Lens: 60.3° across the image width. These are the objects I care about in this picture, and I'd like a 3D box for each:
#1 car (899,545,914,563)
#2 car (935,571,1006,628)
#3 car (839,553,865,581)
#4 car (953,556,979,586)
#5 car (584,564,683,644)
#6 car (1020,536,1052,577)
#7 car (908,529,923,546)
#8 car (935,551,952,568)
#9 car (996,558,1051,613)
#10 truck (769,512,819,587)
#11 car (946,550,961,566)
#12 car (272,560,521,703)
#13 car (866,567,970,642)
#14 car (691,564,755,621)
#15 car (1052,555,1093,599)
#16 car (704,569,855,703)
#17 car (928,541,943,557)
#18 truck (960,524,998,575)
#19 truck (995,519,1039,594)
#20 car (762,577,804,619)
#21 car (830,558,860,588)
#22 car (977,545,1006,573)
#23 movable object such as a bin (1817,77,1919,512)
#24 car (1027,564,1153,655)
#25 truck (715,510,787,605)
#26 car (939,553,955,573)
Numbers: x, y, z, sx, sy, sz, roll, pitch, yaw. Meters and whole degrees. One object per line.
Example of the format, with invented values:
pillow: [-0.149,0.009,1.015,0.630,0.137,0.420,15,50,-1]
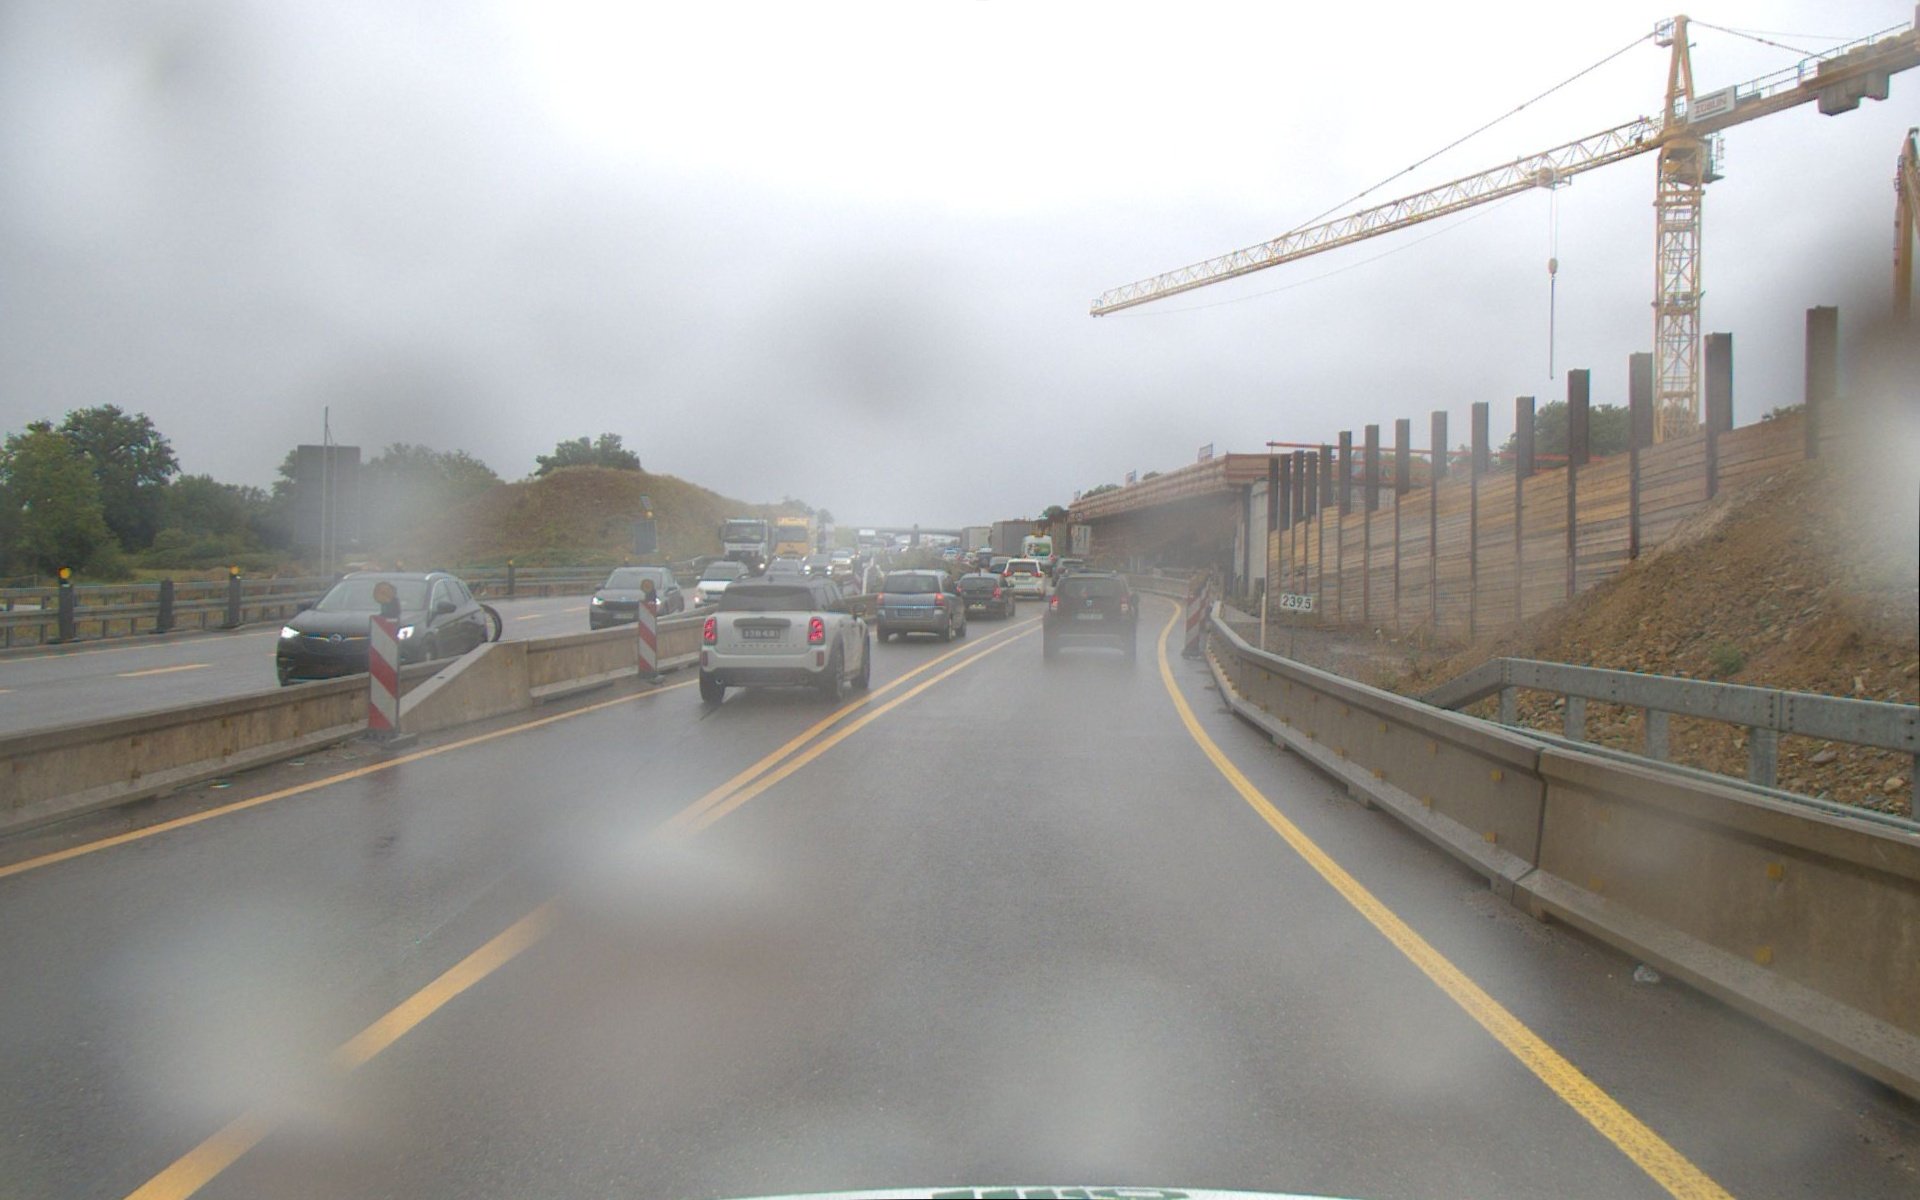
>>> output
car: [-6.970,-5.926,214.462,1.954,2.049,3.997,0,-2,-3]
car: [0.302,0.029,52.025,1.954,1.629,4.137,0,-2,-4]
car: [-9.957,-3.057,153.373,2.172,2.412,4.662,1,0,-1]
car: [0.522,-2.361,136.377,1.952,2.201,4.141,0,-2,3]
car: [-8.221,0.156,41.986,1.749,1.842,4.497,0,-2,-2]
car: [5.272,-3.019,114.855,1.953,2.528,4.980,0,-2,0]
car: [-6.173,-8.678,228.574,1.954,2.049,3.997,0,-2,-3]
car: [-2.104,-5.152,209.110,1.953,2.049,3.998,0,-1,-2]
car: [2.580,-0.568,68.029,1.954,2.049,3.890,0,-2,-3]
truck: [-12.870,-3.846,128.785,3.078,5.513,8.520,1,0,-1]
car: [-0.955,-6.023,240.150,1.954,2.049,3.997,0,-2,-3]
car: [-7.609,0.376,22.957,1.702,1.714,5.549,1,0,-2]
car: [-0.938,0.160,39.293,1.951,1.629,4.142,0,-2,6]
car: [-8.425,-0.236,59.080,1.749,1.842,4.497,0,-2,-2]
car: [6.165,-1.218,90.798,1.953,2.201,4.139,0,-2,0]
car: [-2.342,0.499,22.382,1.780,1.628,4.304,0,-2,-3]
car: [-3.488,-7.228,235.362,1.953,2.049,3.998,0,-1,-2]
truck: [2.143,-5.936,196.368,3.728,5.132,12.912,0,-2,-3]
truck: [4.737,-3.426,134.901,3.036,5.522,9.447,0,-2,5]
car: [-8.228,-0.064,77.094,1.590,1.842,3.635,0,-2,-1]
car: [-9.540,-2.221,137.503,2.193,2.400,4.875,1,0,-1]
car: [2.279,-2.945,120.156,1.953,1.792,3.812,0,-2,-2]
movable object such as a bin: [29.232,-8.574,48.389,4.617,11.034,10.310,0,-2,12]
car: [2.477,0.244,32.475,2.039,1.629,4.138,0,-2,-2]
truck: [-11.532,-2.241,92.104,3.020,5.006,8.561,1,0,-1]
car: [-1.499,-4.211,188.650,1.812,1.927,4.019,0,-2,-1]
